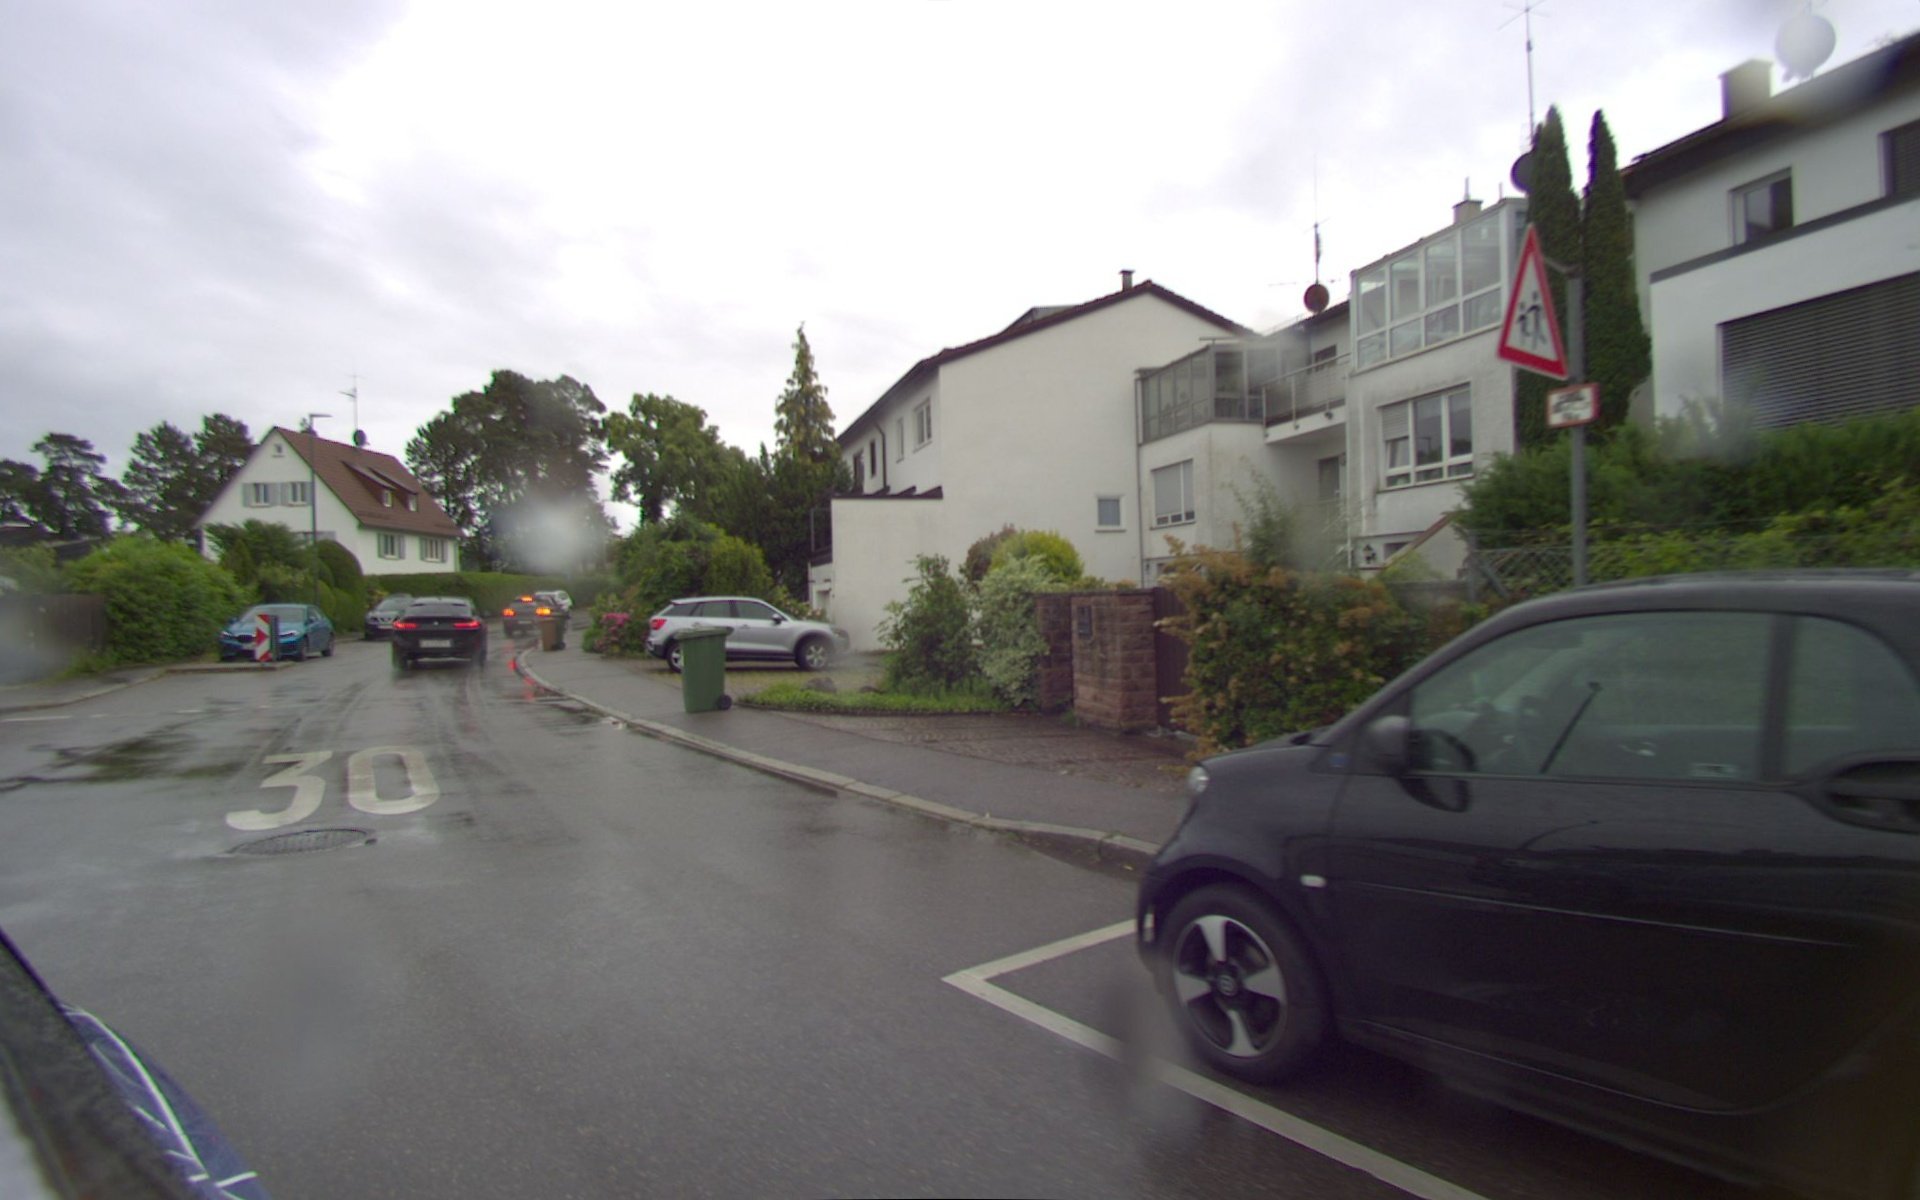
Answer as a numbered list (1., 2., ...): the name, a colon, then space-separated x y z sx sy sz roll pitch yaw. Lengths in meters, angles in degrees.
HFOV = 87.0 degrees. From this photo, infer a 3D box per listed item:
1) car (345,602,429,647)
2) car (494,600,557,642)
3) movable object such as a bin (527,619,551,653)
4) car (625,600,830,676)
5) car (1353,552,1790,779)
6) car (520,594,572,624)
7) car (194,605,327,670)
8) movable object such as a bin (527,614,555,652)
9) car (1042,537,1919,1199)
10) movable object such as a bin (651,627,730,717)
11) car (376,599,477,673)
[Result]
1. car: -21.958 0.898 38.956 1.875 1.553 4.228 -1 0 -17
2. car: -18.050 0.819 42.185 1.764 1.606 4.227 -1 0 -15
3. movable object such as a bin: -12.024 1.021 28.909 0.571 0.946 0.505 1 -2 -17
4. car: -4.771 0.749 20.912 3.933 1.451 1.773 1 1 -13
5. car: 6.217 0.584 10.425 3.622 1.964 1.744 -2 -1 -15
6. car: -24.262 0.482 59.453 1.641 1.651 4.220 -1 0 -5
7. car: -18.041 0.904 26.322 1.770 1.480 4.229 -1 0 -19
8. movable object such as a bin: -12.150 0.955 29.369 0.682 1.100 0.422 1 -2 -17
9. car: 1.852 0.652 2.886 1.583 1.523 2.946 0 0 -42
10. movable object such as a bin: -3.491 0.908 13.092 0.834 1.076 0.624 -3 0 -25
11. car: -12.766 0.795 24.428 1.902 1.617 4.357 0 0 -25
